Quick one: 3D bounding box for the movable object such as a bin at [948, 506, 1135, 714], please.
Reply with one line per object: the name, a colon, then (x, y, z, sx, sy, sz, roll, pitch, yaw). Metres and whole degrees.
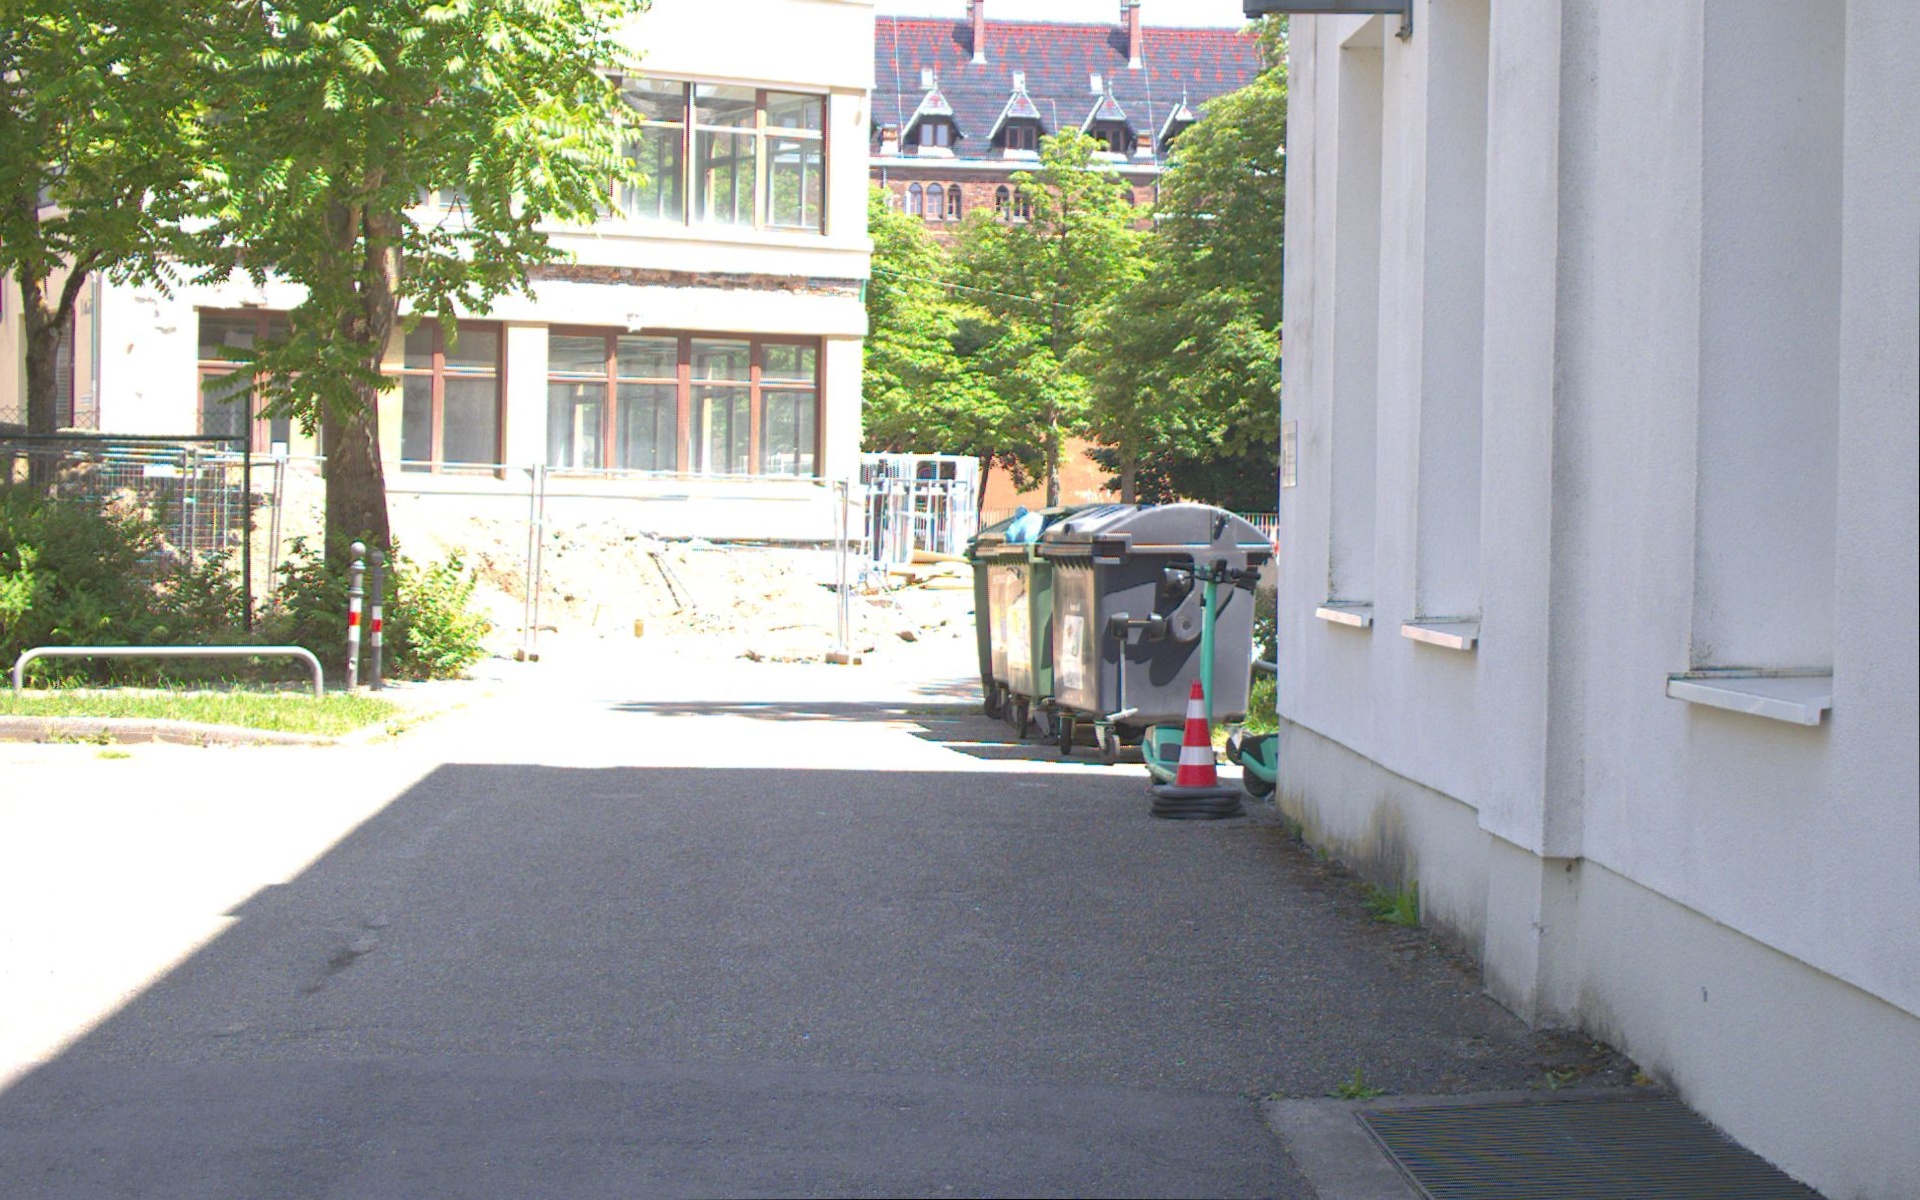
movable object such as a bin: (0.618, 0.068, 25.446, 1.179, 1.465, 1.332, 2, 0, 9)

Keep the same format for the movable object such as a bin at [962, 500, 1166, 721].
movable object such as a bin: (0.706, 0.068, 23.909, 1.178, 1.465, 1.312, 2, 0, -8)

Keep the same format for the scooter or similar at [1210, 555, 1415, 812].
scooter or similar: (1.679, 0.382, 16.539, 0.463, 1.170, 1.256, 1, 1, -20)

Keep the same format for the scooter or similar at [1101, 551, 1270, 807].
scooter or similar: (1.075, 0.358, 16.605, 0.463, 1.170, 1.357, 1, 1, -11)

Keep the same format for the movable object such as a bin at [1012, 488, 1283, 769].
movable object such as a bin: (1.033, 0.150, 19.357, 1.154, 1.500, 1.463, 1, 0, -11)

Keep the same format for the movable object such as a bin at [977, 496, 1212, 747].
movable object such as a bin: (0.806, 0.122, 21.085, 1.178, 1.465, 1.312, 2, 0, -9)

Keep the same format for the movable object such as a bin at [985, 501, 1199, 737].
movable object such as a bin: (0.845, 0.115, 22.472, 1.178, 1.465, 1.312, 2, 0, -6)
